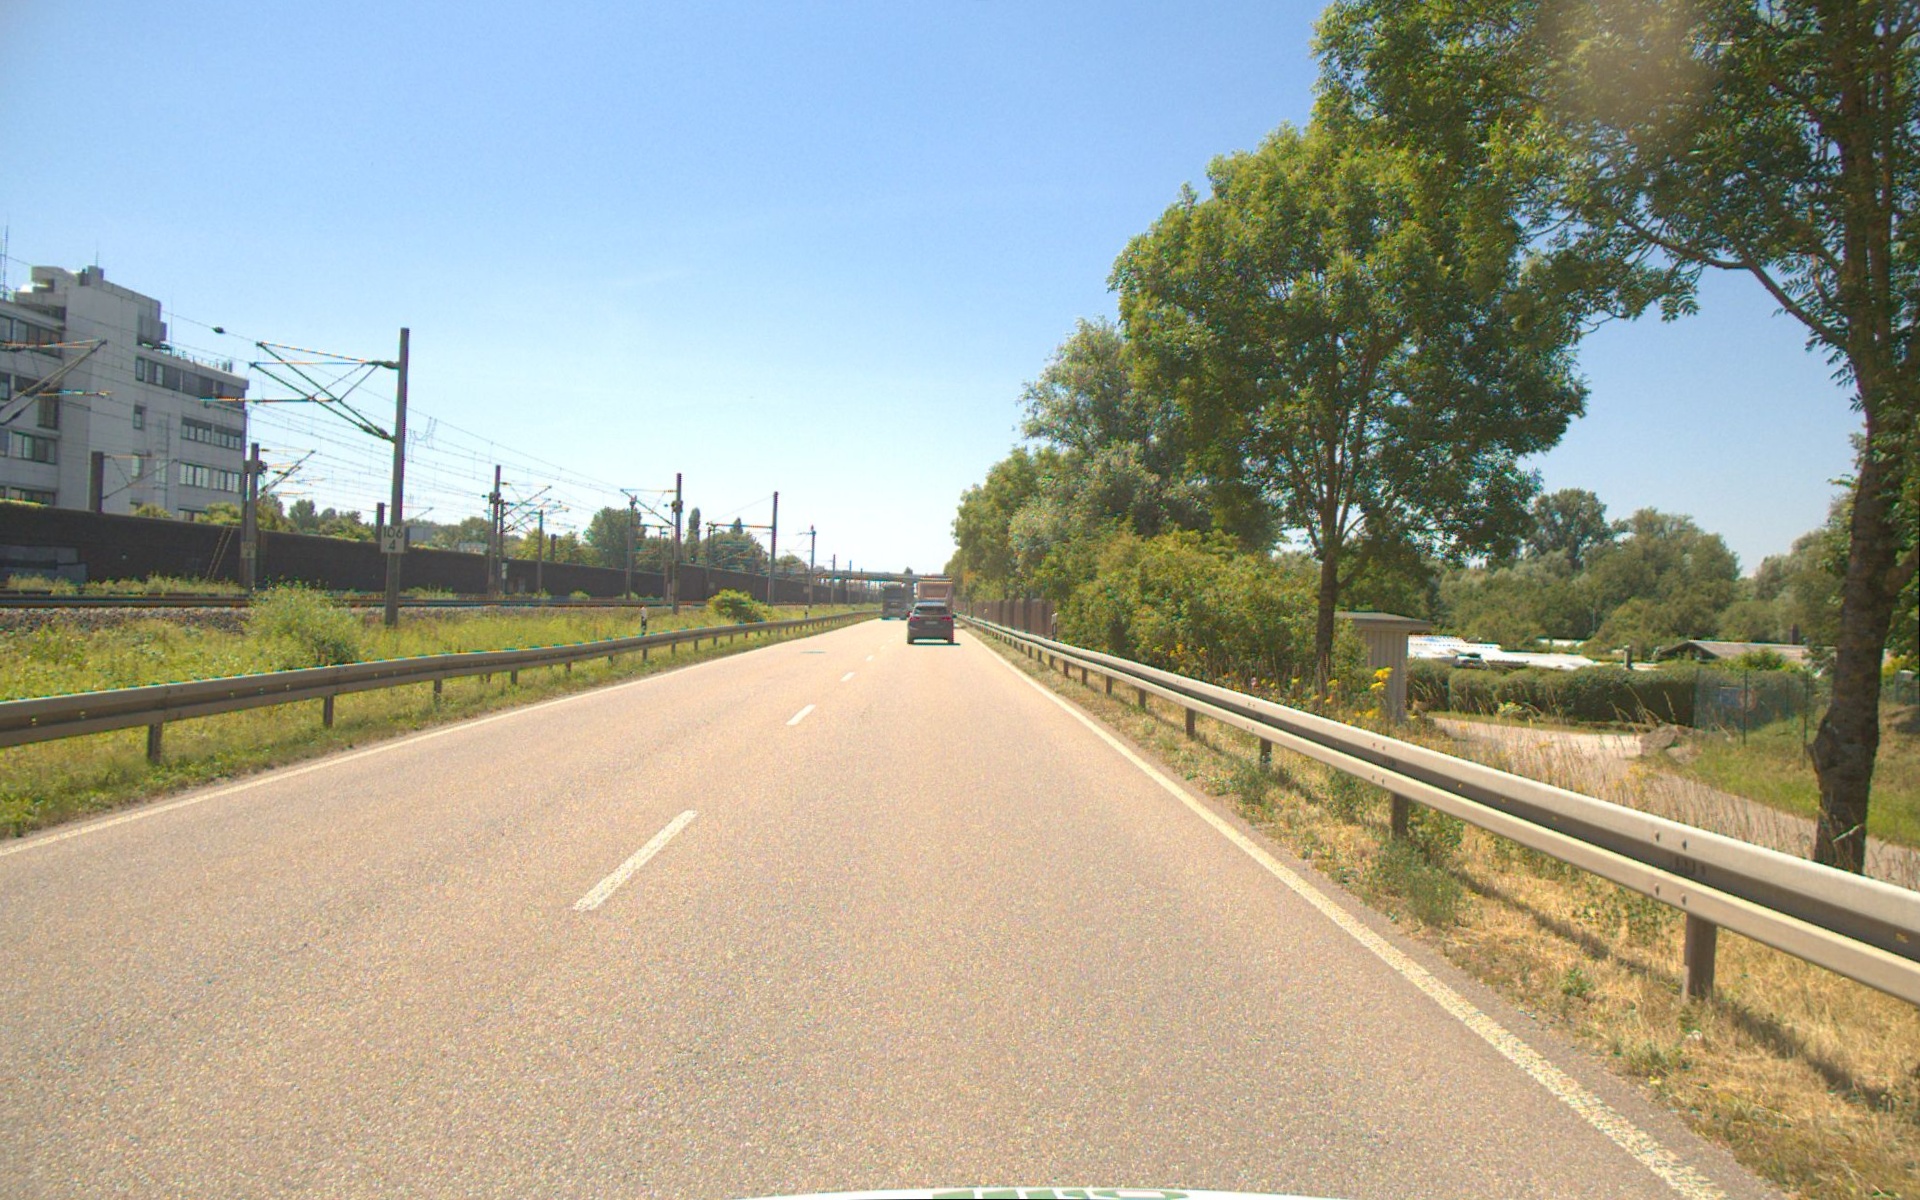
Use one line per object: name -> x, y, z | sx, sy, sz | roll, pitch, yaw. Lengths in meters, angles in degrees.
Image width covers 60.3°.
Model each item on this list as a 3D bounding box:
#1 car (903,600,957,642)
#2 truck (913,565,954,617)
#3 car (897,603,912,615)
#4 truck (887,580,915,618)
car -> -1.201, 0.776, 63.957 | 1.954, 1.534, 3.997 | 1, 0, -3
truck -> -1.893, -0.614, 117.231 | 2.714, 3.485, 10.816 | 1, 0, -1
car -> -7.425, 1.244, 222.467 | 1.935, 1.534, 4.161 | 1, 0, -1
truck -> -5.972, -0.100, 167.931 | 2.604, 3.690, 10.973 | 1, 0, -2
